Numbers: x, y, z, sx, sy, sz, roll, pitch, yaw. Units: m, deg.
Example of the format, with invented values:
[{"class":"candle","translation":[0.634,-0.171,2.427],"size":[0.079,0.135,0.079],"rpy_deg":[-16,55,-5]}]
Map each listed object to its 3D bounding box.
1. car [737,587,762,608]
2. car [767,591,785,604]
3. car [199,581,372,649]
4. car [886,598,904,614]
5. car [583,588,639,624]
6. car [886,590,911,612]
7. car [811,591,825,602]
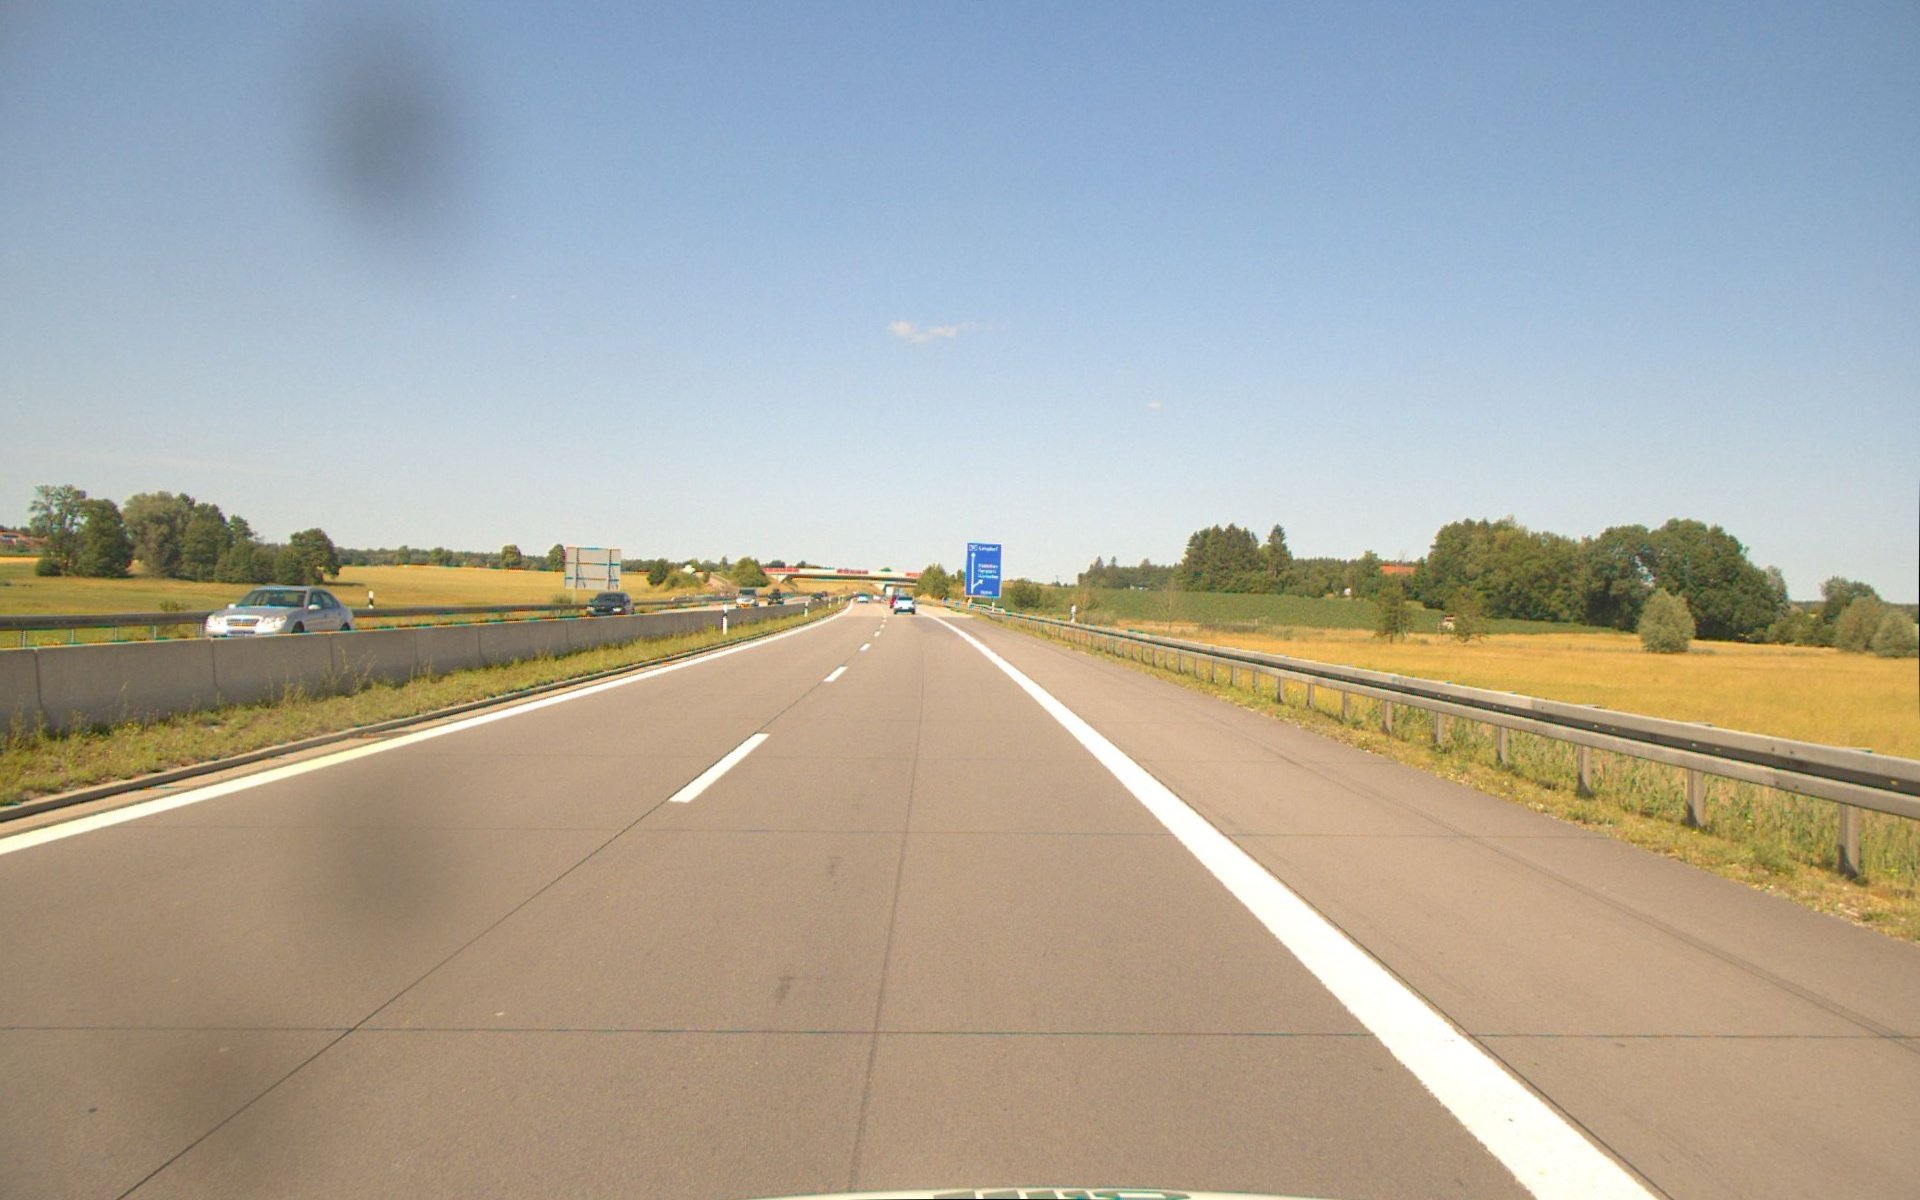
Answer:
[{"class":"car","translation":[-19.994,-0.249,157.140],"size":[1.915,1.874,5.447],"rpy_deg":[0,0,-3]},{"class":"car","translation":[-22.194,-0.271,199.744],"size":[1.860,1.550,4.803],"rpy_deg":[0,0,-3]},{"class":"car","translation":[-14.725,0.283,36.463],"size":[1.786,1.388,5.293],"rpy_deg":[0,0,-2]},{"class":"car","translation":[-7.554,0.699,192.089],"size":[1.953,1.761,4.867],"rpy_deg":[2,0,-2]},{"class":"car","translation":[-16.464,0.254,78.252],"size":[1.821,1.612,4.912],"rpy_deg":[0,0,-3]},{"class":"car","translation":[-5.303,0.100,141.658],"size":[1.954,1.761,4.865],"rpy_deg":[2,0,-4]},{"class":"car","translation":[-20.300,-0.461,236.564],"size":[1.860,1.550,4.803],"rpy_deg":[0,0,-3]}]
